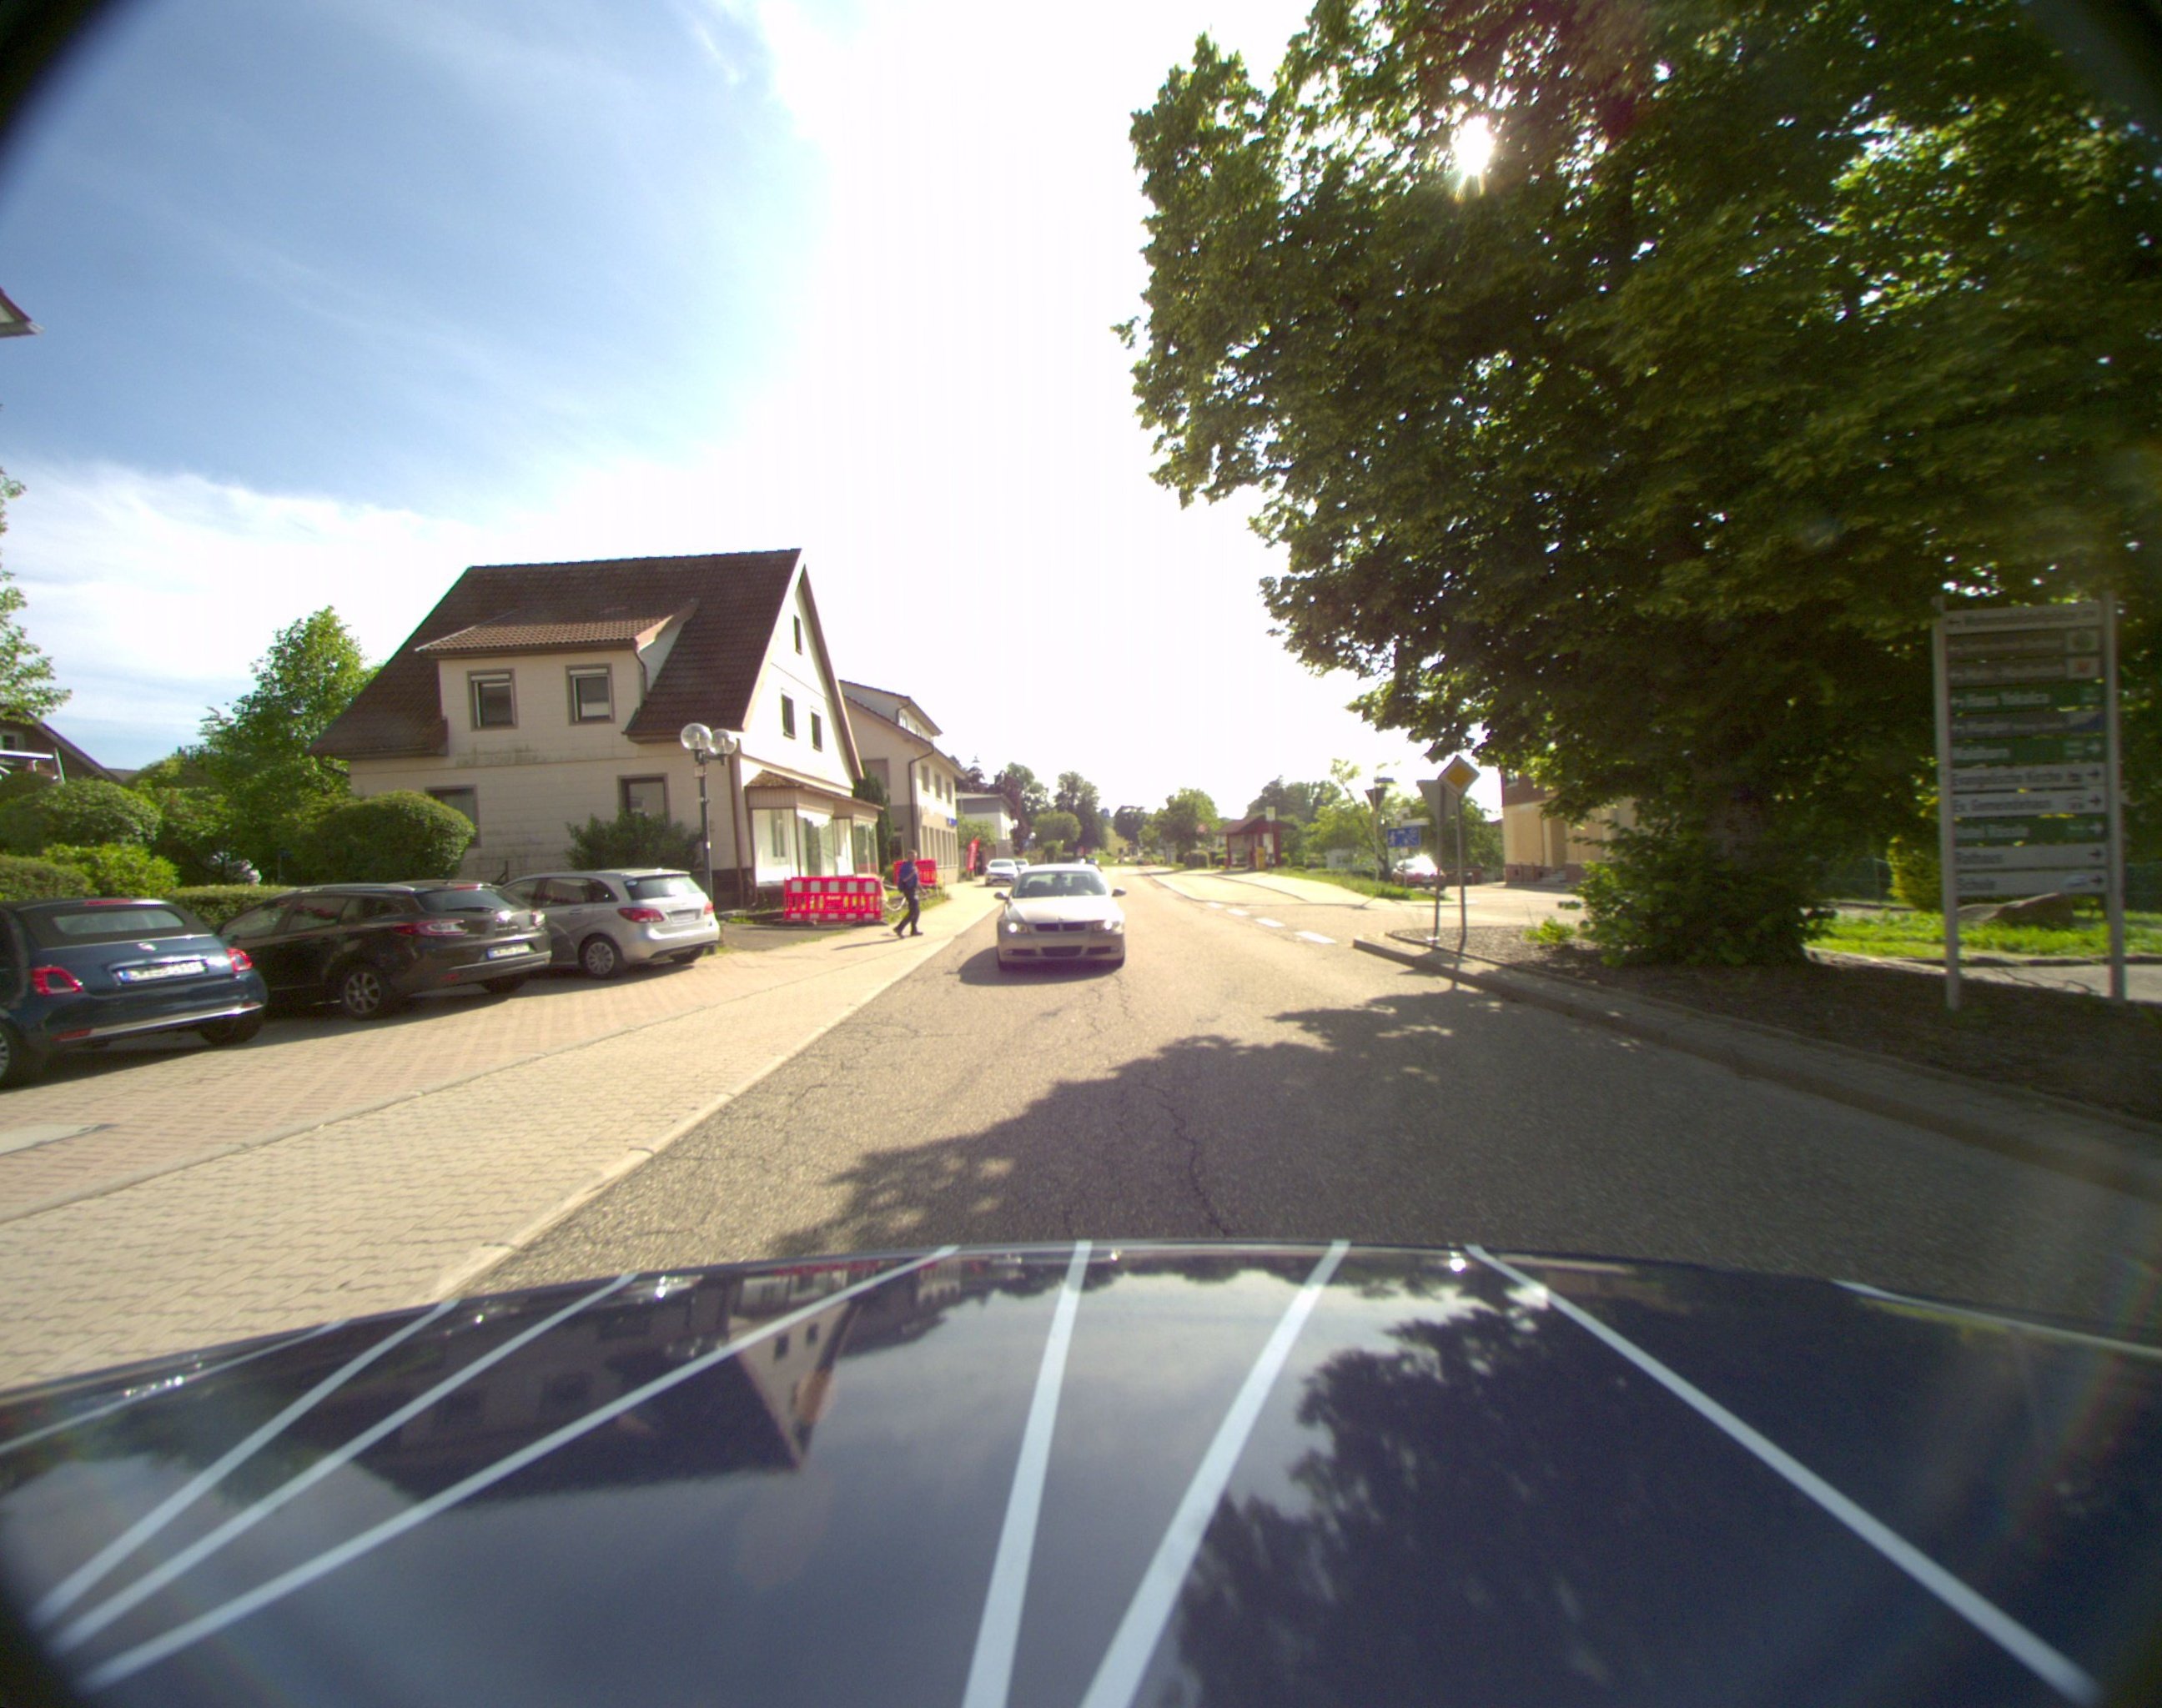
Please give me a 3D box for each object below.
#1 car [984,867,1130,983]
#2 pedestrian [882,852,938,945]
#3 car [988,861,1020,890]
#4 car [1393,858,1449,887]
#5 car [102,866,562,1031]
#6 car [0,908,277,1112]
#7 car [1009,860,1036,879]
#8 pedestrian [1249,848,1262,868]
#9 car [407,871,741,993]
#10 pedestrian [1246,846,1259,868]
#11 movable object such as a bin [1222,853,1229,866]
[{"bbox_3d":[-0.371,0.942,12.000,1.839,1.360,4.580,-1,0,-2],"label":"car"},{"bbox_3d":[-3.391,0.861,15.158,0.801,1.774,0.980,-1,1,4],"label":"pedestrian"},{"bbox_3d":[-4.228,1.137,41.805,1.640,1.411,3.933,-2,0,-6],"label":"car"},{"bbox_3d":[16.190,0.852,36.315,1.723,1.289,4.004,-1,0,13],"label":"car"},{"bbox_3d":[-8.597,1.052,8.883,3.994,1.540,1.739,-4,0,9],"label":"car"},{"bbox_3d":[-9.573,1.311,6.654,3.566,1.410,1.583,-3,0,6],"label":"car"},{"bbox_3d":[-4.617,1.192,60.294,1.764,1.415,3.634,-1,0,1],"label":"car"},{"bbox_3d":[10.705,0.230,46.595,0.631,1.245,0.423,0,1,-4],"label":"pedestrian"},{"bbox_3d":[-7.497,1.127,11.422,3.868,1.549,1.965,-2,0,12],"label":"car"},{"bbox_3d":[10.651,0.189,47.155,0.619,1.356,0.674,0,-1,-3],"label":"pedestrian"},{"bbox_3d":[9.417,0.333,49.575,0.305,0.832,0.485,-1,1,-4],"label":"movable object such as a bin"}]
